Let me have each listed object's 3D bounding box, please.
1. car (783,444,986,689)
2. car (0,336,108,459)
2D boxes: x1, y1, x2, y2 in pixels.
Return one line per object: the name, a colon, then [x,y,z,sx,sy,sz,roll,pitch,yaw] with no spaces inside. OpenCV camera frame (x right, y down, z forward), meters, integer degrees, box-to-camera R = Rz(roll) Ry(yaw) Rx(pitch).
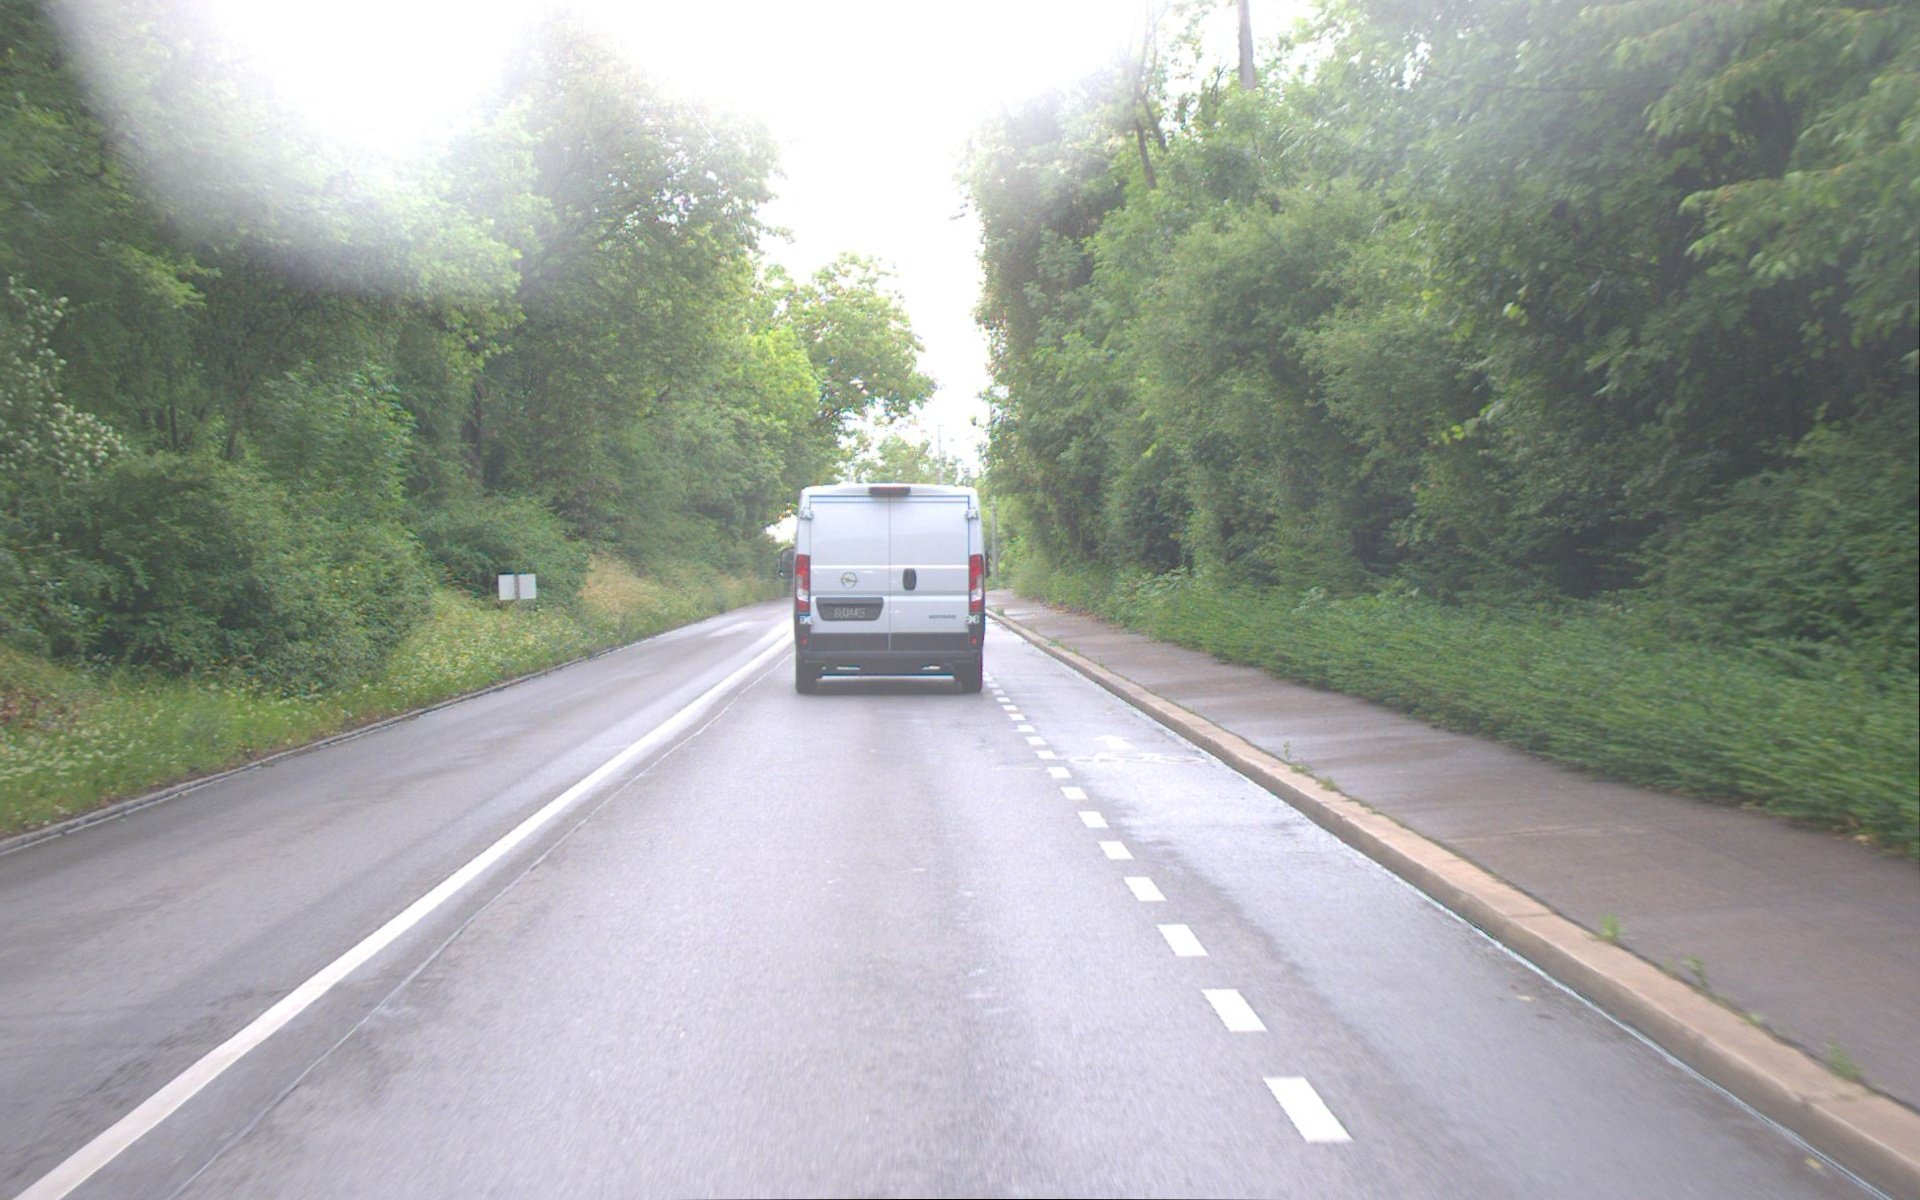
car: [-0.816,-0.408,38.415,2.050,2.508,4.944,2,1,-1]
car: [-13.366,-2.839,48.653,1.751,1.656,3.444,-2,3,-1]
